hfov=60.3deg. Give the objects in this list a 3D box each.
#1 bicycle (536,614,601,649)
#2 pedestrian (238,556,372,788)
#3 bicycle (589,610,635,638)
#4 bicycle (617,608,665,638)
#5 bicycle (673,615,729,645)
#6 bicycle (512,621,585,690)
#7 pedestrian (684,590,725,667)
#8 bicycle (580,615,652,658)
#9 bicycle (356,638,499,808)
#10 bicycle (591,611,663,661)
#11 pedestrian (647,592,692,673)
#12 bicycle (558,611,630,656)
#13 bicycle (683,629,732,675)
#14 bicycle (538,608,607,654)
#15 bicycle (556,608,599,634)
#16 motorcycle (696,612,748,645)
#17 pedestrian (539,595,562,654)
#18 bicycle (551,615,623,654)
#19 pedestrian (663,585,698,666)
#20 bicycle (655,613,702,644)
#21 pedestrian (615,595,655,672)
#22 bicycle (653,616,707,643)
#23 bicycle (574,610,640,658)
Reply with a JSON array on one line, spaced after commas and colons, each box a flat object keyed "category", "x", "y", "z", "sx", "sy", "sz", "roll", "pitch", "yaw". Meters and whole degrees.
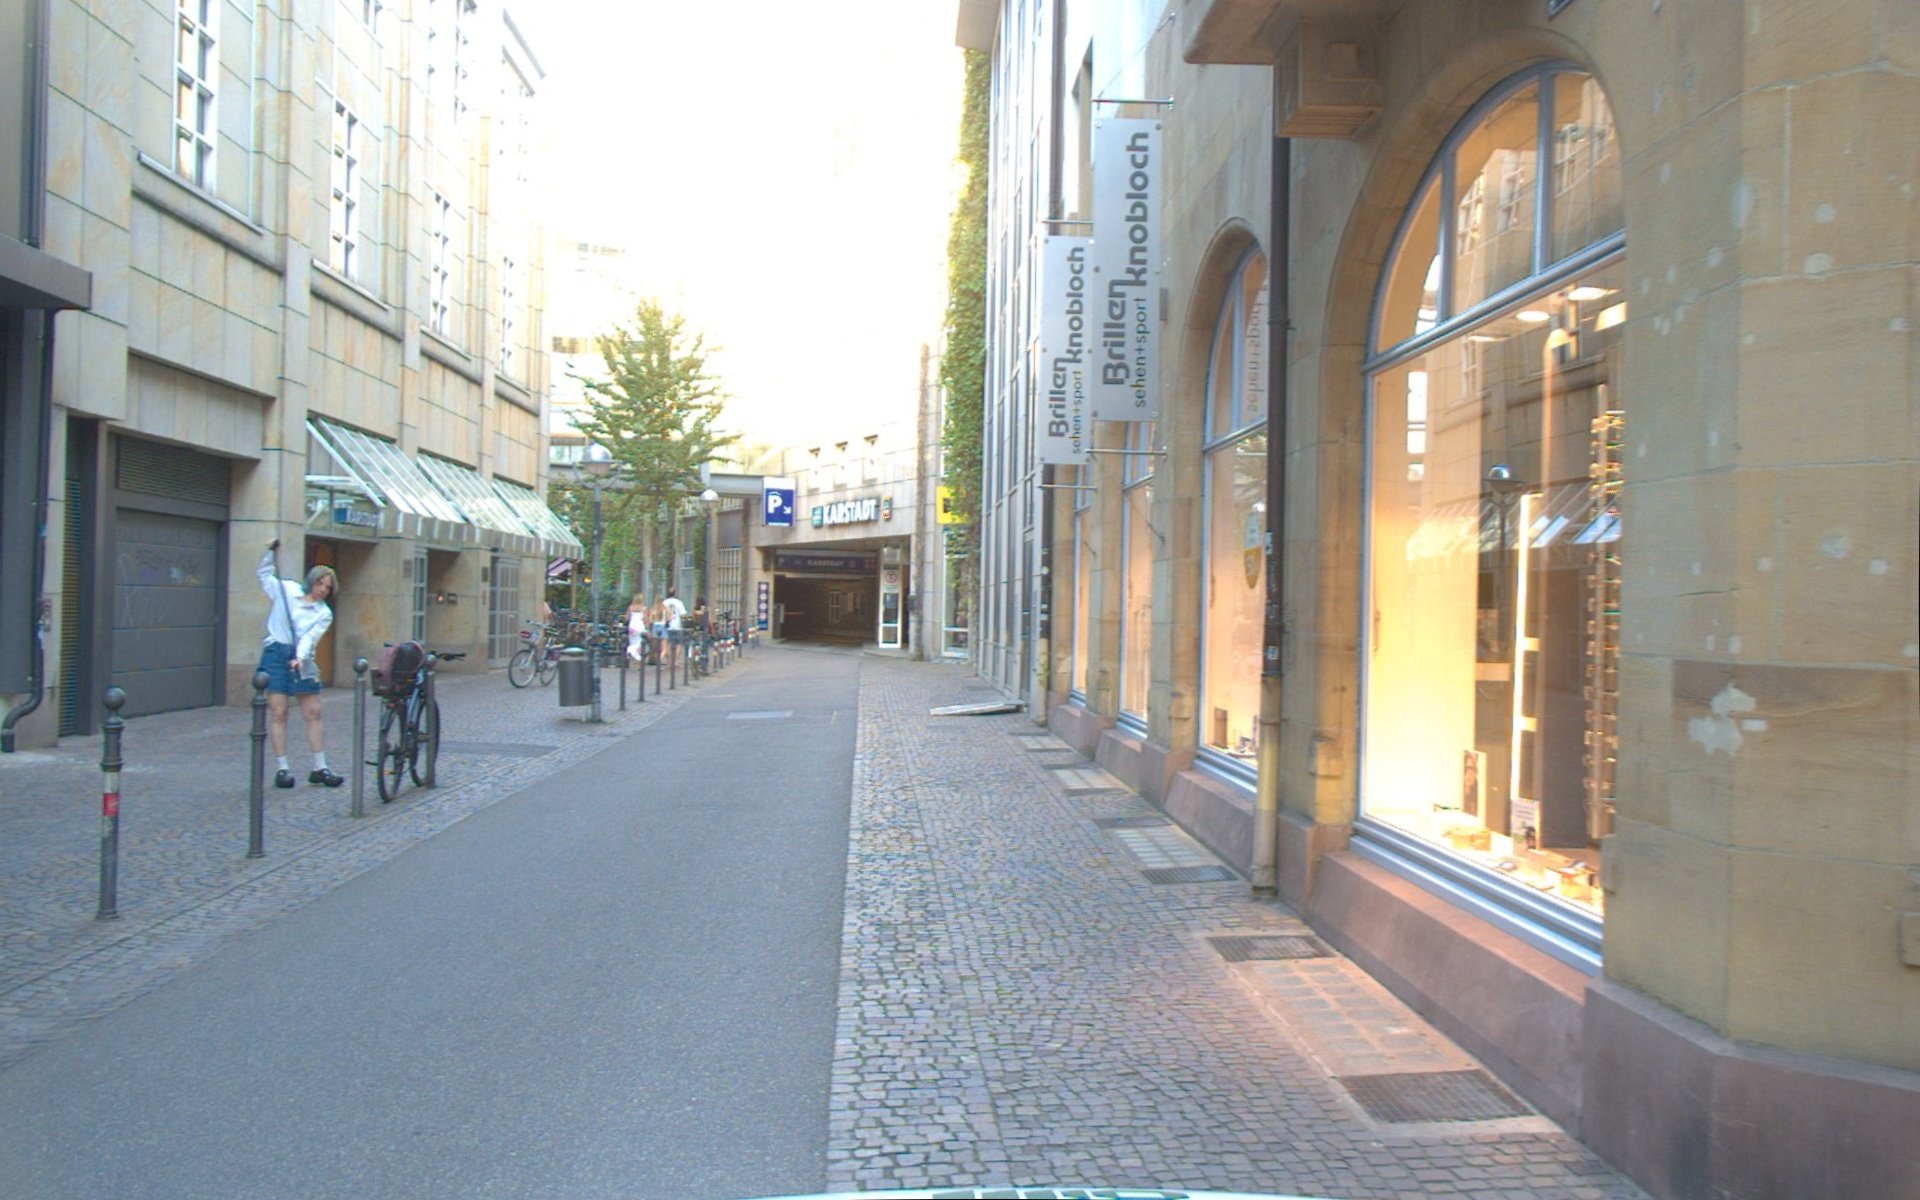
[{"category": "bicycle", "x": -11.853, "y": 0.946, "z": 50.124, "sx": 1.854, "sy": 1.061, "sz": 0.529, "roll": 0, "pitch": 0, "yaw": -27}, {"category": "pedestrian", "x": -5.111, "y": 0.552, "z": 12.943, "sx": 0.753, "sy": 1.748, "sz": 0.591, "roll": 2, "pitch": 0, "yaw": -4}, {"category": "bicycle", "x": -13.997, "y": 0.970, "z": 66.583, "sx": 1.750, "sy": 1.134, "sz": 0.538, "roll": 0, "pitch": 0, "yaw": -25}, {"category": "bicycle", "x": -12.434, "y": 0.899, "z": 64.437, "sx": 1.750, "sy": 1.134, "sz": 0.538, "roll": 0, "pitch": 0, "yaw": -25}, {"category": "bicycle", "x": -8.782, "y": 1.013, "z": 56.031, "sx": 1.824, "sy": 0.999, "sz": 0.460, "roll": 0, "pitch": 0, "yaw": -25}, {"category": "bicycle", "x": -7.214, "y": 0.950, "z": 29.050, "sx": 0.510, "sy": 1.158, "sz": 1.766, "roll": 0, "pitch": 0, "yaw": 12}, {"category": "pedestrian", "x": -6.188, "y": 0.681, "z": 40.103, "sx": 0.768, "sy": 1.826, "sz": 0.973, "roll": 0, "pitch": 0, "yaw": 5}, {"category": "bicycle", "x": -9.229, "y": 0.975, "z": 44.362, "sx": 1.814, "sy": 1.142, "sz": 0.529, "roll": 0, "pitch": 0, "yaw": -27}, {"category": "bicycle", "x": -4.148, "y": 0.921, "z": 13.007, "sx": 0.522, "sy": 1.174, "sz": 1.914, "roll": 2, "pitch": 0, "yaw": -2}, {"category": "bicycle", "x": -8.499, "y": 0.913, "z": 42.241, "sx": 1.745, "sy": 1.252, "sz": 0.529, "roll": 0, "pitch": 0, "yaw": -27}, {"category": "pedestrian", "x": -6.505, "y": 0.720, "z": 37.033, "sx": 0.789, "sy": 1.760, "sz": 0.949, "roll": 1, "pitch": 0, "yaw": 2}, {"category": "bicycle", "x": -10.005, "y": 0.914, "z": 45.261, "sx": 1.849, "sy": 1.198, "sz": 0.529, "roll": 0, "pitch": 0, "yaw": -27}, {"category": "bicycle", "x": -5.483, "y": 1.123, "z": 36.002, "sx": 0.482, "sy": 0.955, "sz": 1.660, "roll": 2, "pitch": 0, "yaw": 11}, {"category": "bicycle", "x": -10.865, "y": 0.860, "z": 46.405, "sx": 1.811, "sy": 1.246, "sz": 0.529, "roll": 0, "pitch": 0, "yaw": -27}, {"category": "bicycle", "x": -16.691, "y": 0.930, "z": 72.173, "sx": 1.748, "sy": 1.134, "sz": 0.539, "roll": 0, "pitch": 0, "yaw": -22}, {"category": "motorcycle", "x": -7.822, "y": 0.940, "z": 54.472, "sx": 1.641, "sy": 1.069, "sz": 0.460, "roll": 0, "pitch": 0, "yaw": -25}, {"category": "pedestrian", "x": -10.429, "y": 0.630, "z": 42.138, "sx": 0.469, "sy": 1.497, "sz": 0.411, "roll": 1, "pitch": 0, "yaw": -25}, {"category": "bicycle", "x": -10.313, "y": 0.947, "z": 45.770, "sx": 1.871, "sy": 1.070, "sz": 0.529, "roll": 0, "pitch": 0, "yaw": -27}, {"category": "pedestrian", "x": -6.498, "y": 0.584, "z": 38.487, "sx": 0.728, "sy": 1.854, "sz": 0.877, "roll": 0, "pitch": 0, "yaw": -5}, {"category": "bicycle", "x": -9.823, "y": 0.995, "z": 57.760, "sx": 1.519, "sy": 1.067, "sz": 0.571, "roll": 0, "pitch": 0, "yaw": -25}, {"category": "pedestrian", "x": -7.288, "y": 0.735, "z": 37.122, "sx": 0.660, "sy": 1.693, "sz": 0.861, "roll": 1, "pitch": 0, "yaw": 3}, {"category": "bicycle", "x": -9.618, "y": 1.020, "z": 56.822, "sx": 1.750, "sy": 0.920, "sz": 0.460, "roll": 0, "pitch": 0, "yaw": -25}, {"category": "bicycle", "x": -9.283, "y": 0.887, "z": 43.465, "sx": 1.634, "sy": 1.252, "sz": 0.529, "roll": 0, "pitch": 0, "yaw": -27}]
